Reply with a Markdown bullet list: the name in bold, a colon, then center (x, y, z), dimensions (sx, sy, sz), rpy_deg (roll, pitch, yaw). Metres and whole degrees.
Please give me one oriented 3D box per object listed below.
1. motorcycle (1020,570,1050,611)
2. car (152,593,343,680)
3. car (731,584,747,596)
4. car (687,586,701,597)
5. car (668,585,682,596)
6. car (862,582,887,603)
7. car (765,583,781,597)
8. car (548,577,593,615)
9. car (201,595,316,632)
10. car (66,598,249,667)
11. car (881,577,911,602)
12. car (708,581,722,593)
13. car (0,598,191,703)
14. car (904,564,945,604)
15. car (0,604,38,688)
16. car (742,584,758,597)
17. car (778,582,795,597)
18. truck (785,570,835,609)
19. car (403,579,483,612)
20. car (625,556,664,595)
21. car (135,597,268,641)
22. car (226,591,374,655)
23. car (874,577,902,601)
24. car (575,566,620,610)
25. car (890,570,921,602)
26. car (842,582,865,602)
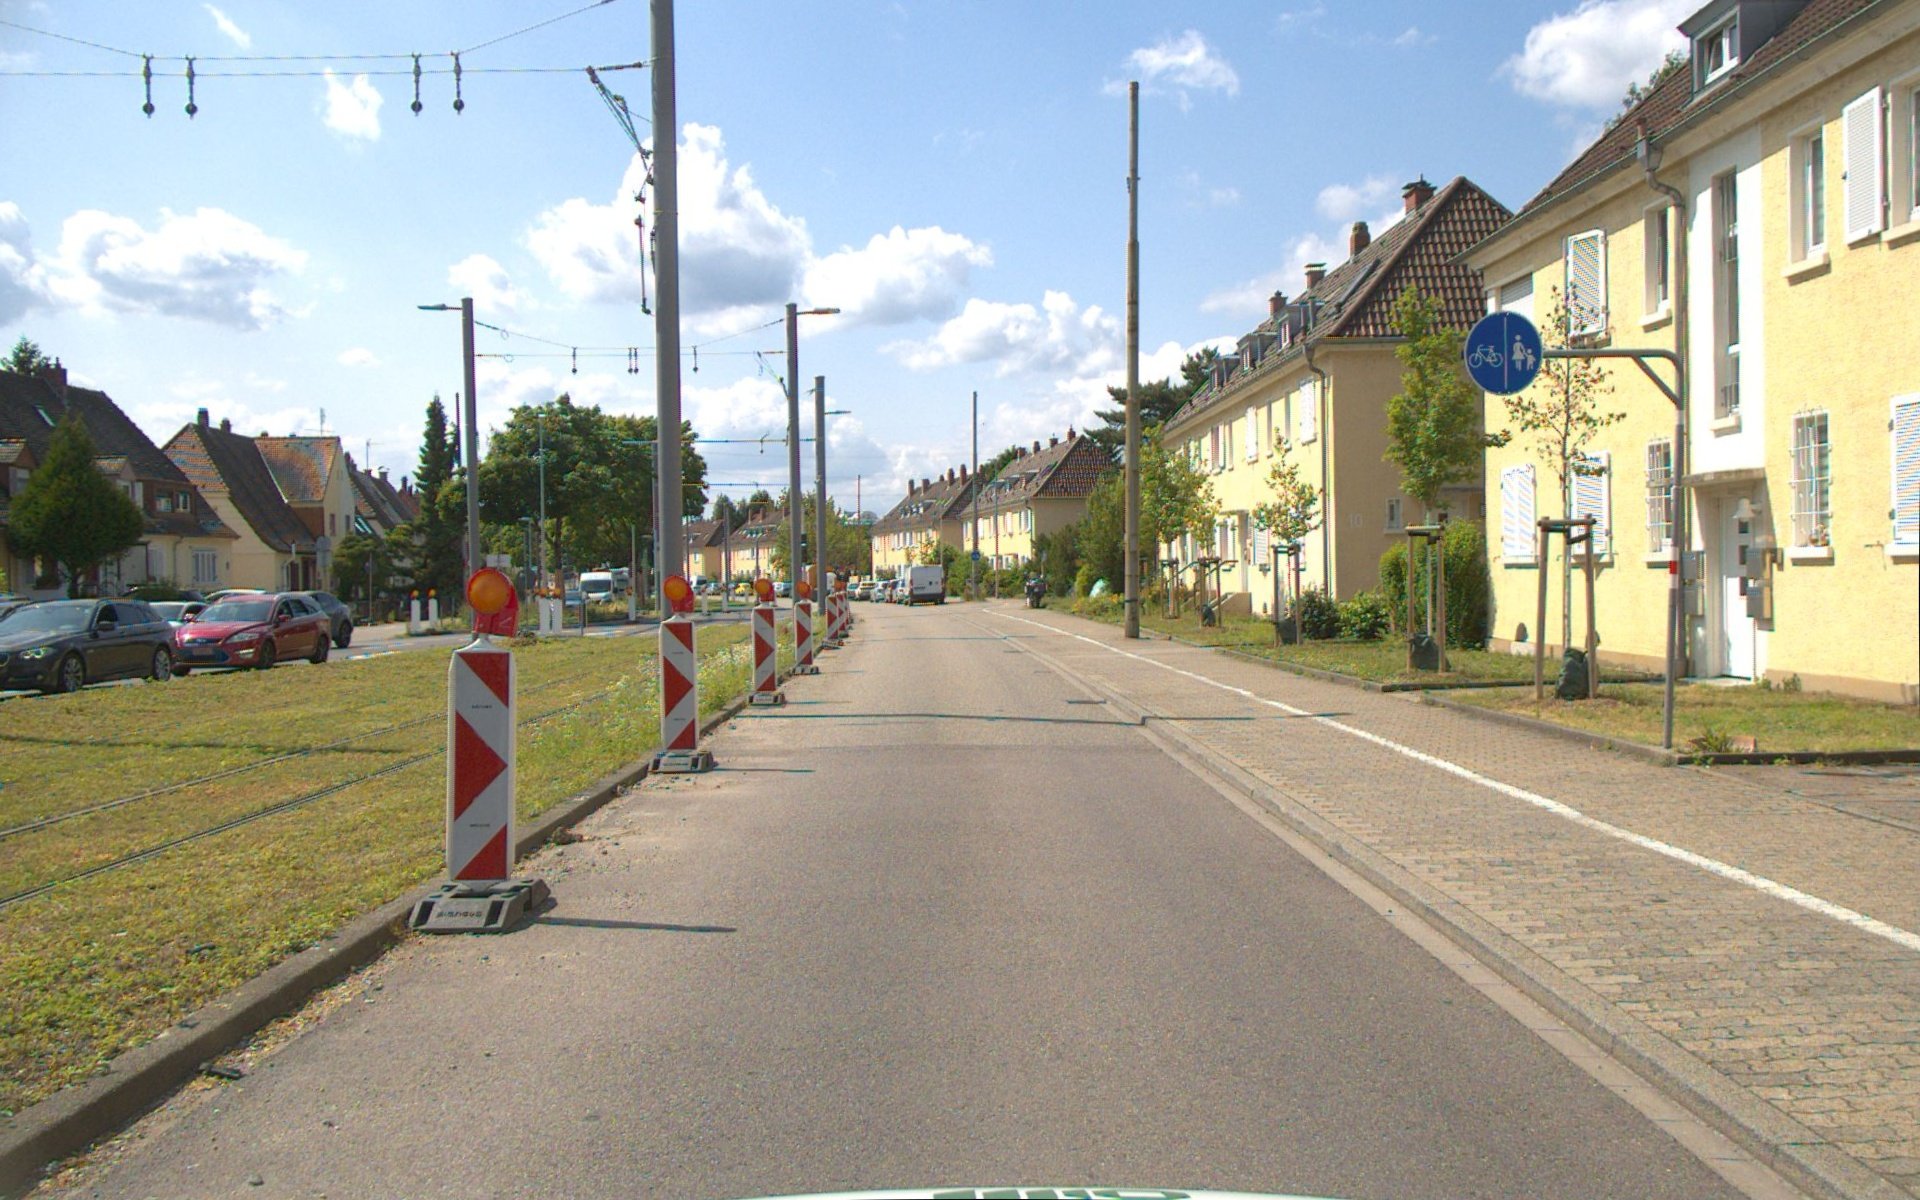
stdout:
- **motorcycle**: center (3.152, -0.411, 69.598), dimensions (1.045, 1.664, 2.082), rpy_deg (-2, 1, -3)
- **car**: center (-14.120, 0.673, 33.103), dimensions (1.806, 1.520, 4.855), rpy_deg (-2, 1, -2)
- **car**: center (-25.899, -1.170, 194.134), dimensions (1.240, 1.451, 2.648), rpy_deg (-2, 1, -21)
- **car**: center (-34.309, -1.103, 213.372), dimensions (1.150, 1.451, 2.647), rpy_deg (-2, 1, -22)
- **car**: center (-38.584, -1.242, 223.676), dimensions (1.241, 1.451, 2.646), rpy_deg (-1, 1, -23)
- **car**: center (-6.591, -0.609, 127.431), dimensions (1.538, 1.578, 3.472), rpy_deg (-1, 1, -8)
- **car**: center (-20.164, -1.041, 178.110), dimensions (1.238, 1.451, 2.651), rpy_deg (-2, 1, -18)
- **car**: center (-19.729, -0.228, 83.925), dimensions (2.057, 1.807, 4.109), rpy_deg (-2, 1, -12)
- **car**: center (-28.359, 0.534, 66.941), dimensions (3.907, 1.422, 1.704), rpy_deg (0, 1, -2)
- **car**: center (-18.106, 0.696, 37.586), dimensions (1.805, 1.366, 4.778), rpy_deg (-2, 1, 0)
- **car**: center (-4.268, -0.719, 110.221), dimensions (1.538, 1.578, 3.782), rpy_deg (-1, 1, -8)
- **car**: center (-30.392, -1.597, 205.145), dimensions (1.240, 1.374, 2.648), rpy_deg (-2, 1, -21)
- **car**: center (-14.099, 0.731, 26.094), dimensions (1.806, 1.438, 4.914), rpy_deg (-2, 1, -3)
- **car**: center (-2.073, -0.909, 95.487), dimensions (2.025, 2.186, 4.874), rpy_deg (-2, 1, -4)
- **car**: center (-18.392, 0.879, 29.558), dimensions (1.806, 1.520, 3.654), rpy_deg (-2, 1, -2)
- **car**: center (-24.151, -1.084, 190.056), dimensions (1.239, 1.451, 2.650), rpy_deg (-2, 1, -19)
- **car**: center (-17.761, -1.058, 169.321), dimensions (1.238, 1.451, 2.651), rpy_deg (-2, 1, -18)
- **truck**: center (-14.319, -0.980, 157.227), dimensions (2.600, 3.555, 9.389), rpy_deg (-2, 1, -18)
- **car**: center (-30.075, -0.292, 96.345), dimensions (4.028, 1.807, 2.099), rpy_deg (-2, 1, -6)
- **car**: center (-20.551, -1.608, 107.574), dimensions (2.364, 2.411, 4.865), rpy_deg (-2, 1, -12)
- **car**: center (-28.222, 0.701, 61.634), dimensions (4.025, 1.492, 1.990), rpy_deg (-1, 0, -2)
- **car**: center (-17.791, 0.585, 44.839), dimensions (1.804, 1.561, 4.741), rpy_deg (-2, 1, 4)
- **car**: center (-5.071, -0.774, 115.855), dimensions (1.538, 1.578, 3.782), rpy_deg (-2, 1, -8)
- **car**: center (-20.875, -0.683, 95.385), dimensions (2.364, 2.379, 4.865), rpy_deg (-2, 1, -12)
- **car**: center (-3.495, -0.877, 105.095), dimensions (1.538, 1.930, 3.782), rpy_deg (-2, 1, -8)
- **car**: center (-8.649, -0.632, 133.833), dimensions (1.538, 1.578, 3.472), rpy_deg (-1, 1, -8)
